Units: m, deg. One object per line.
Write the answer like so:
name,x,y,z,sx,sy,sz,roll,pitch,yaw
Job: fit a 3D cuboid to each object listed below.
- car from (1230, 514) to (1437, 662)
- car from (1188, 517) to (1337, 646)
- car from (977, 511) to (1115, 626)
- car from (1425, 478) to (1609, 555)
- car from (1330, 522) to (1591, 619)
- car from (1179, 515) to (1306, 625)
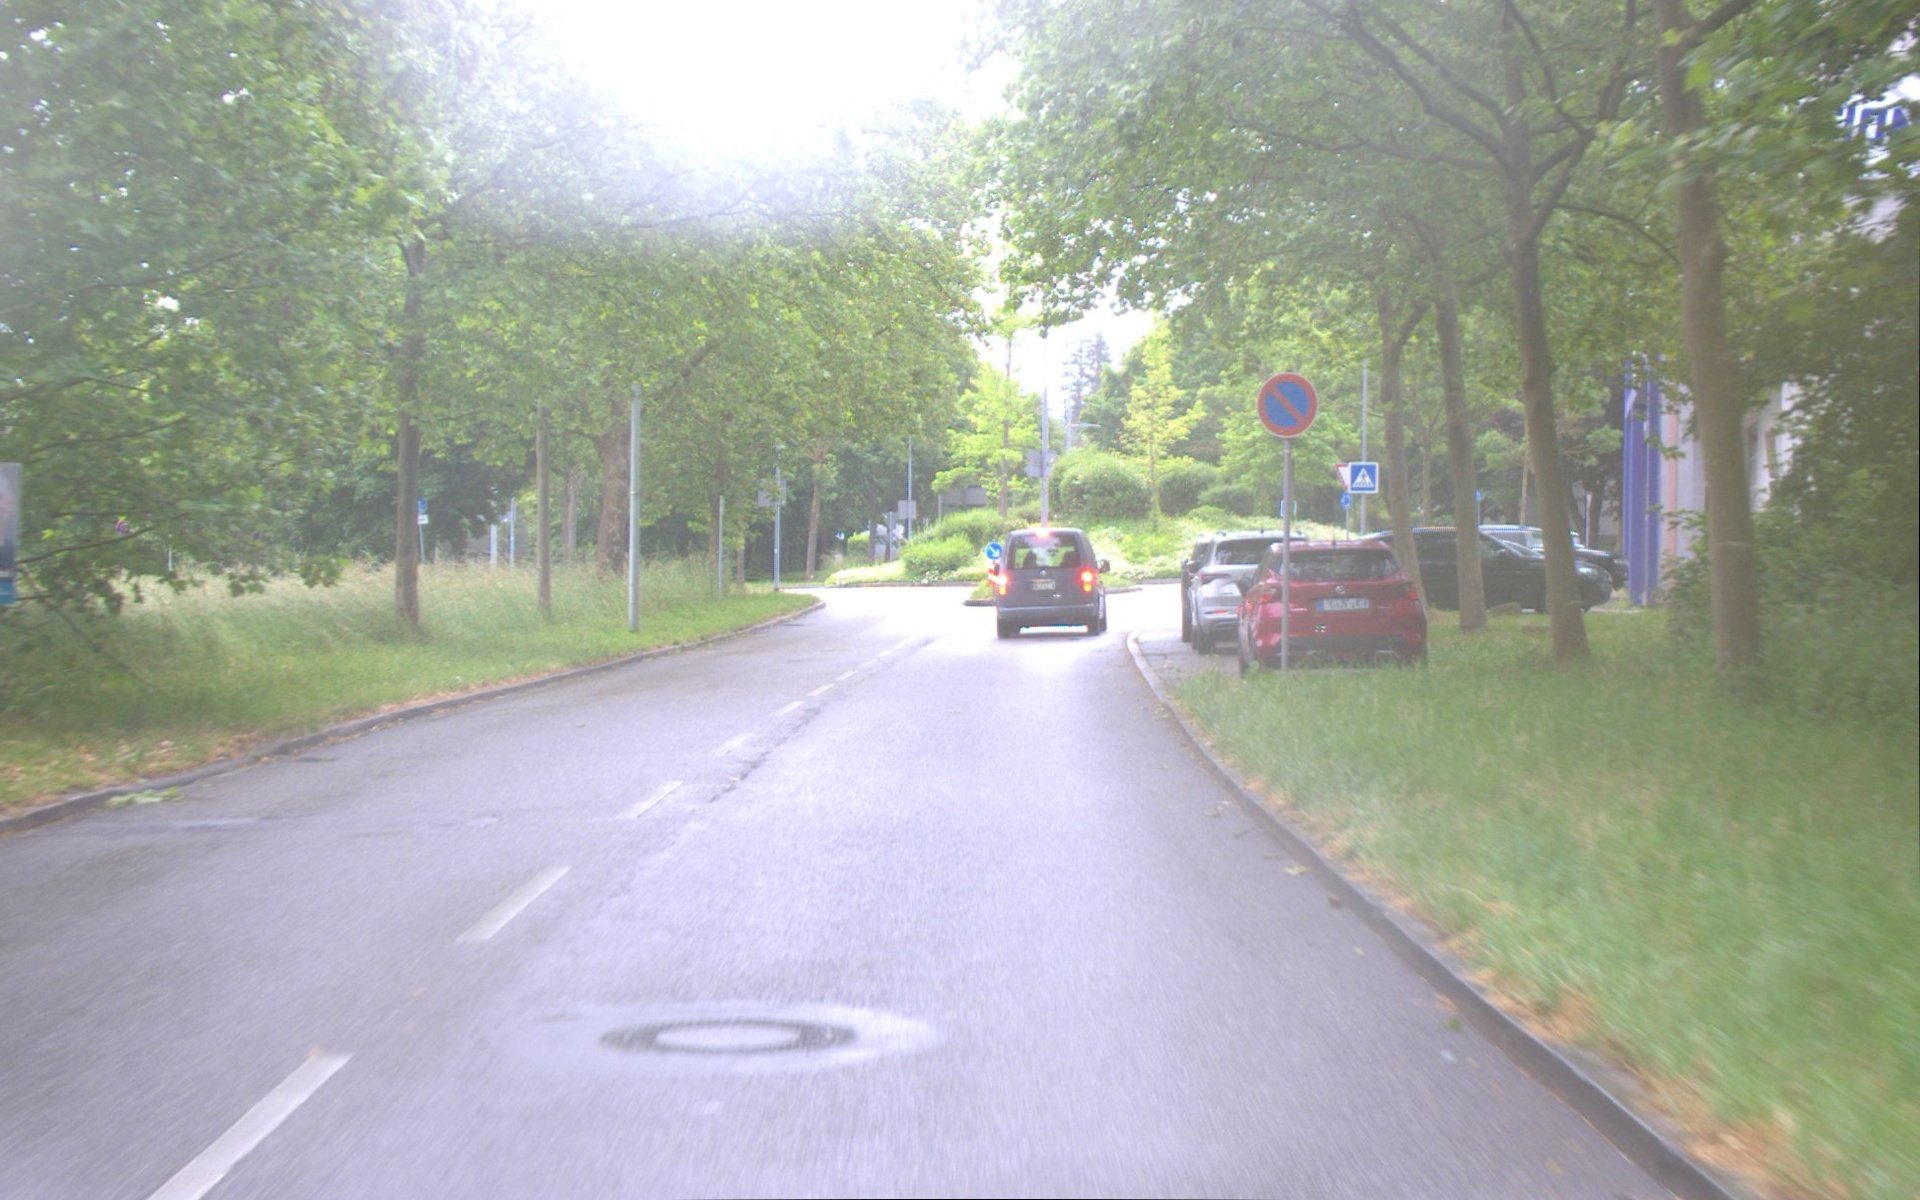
car,3.722,-0.142,34.787,1.797,1.367,3.744,-1,1,2
car,4.009,-0.265,46.089,1.728,1.586,4.253,-2,1,2
car,1.519,-0.573,59.353,1.919,1.795,3.789,-3,1,7
car,13.675,-2.068,84.509,4.379,1.753,1.829,2,3,9
car,8.840,-0.533,60.991,4.471,1.674,1.767,0,2,4
car,4.296,-0.471,52.832,1.801,1.596,4.371,-1,1,3
